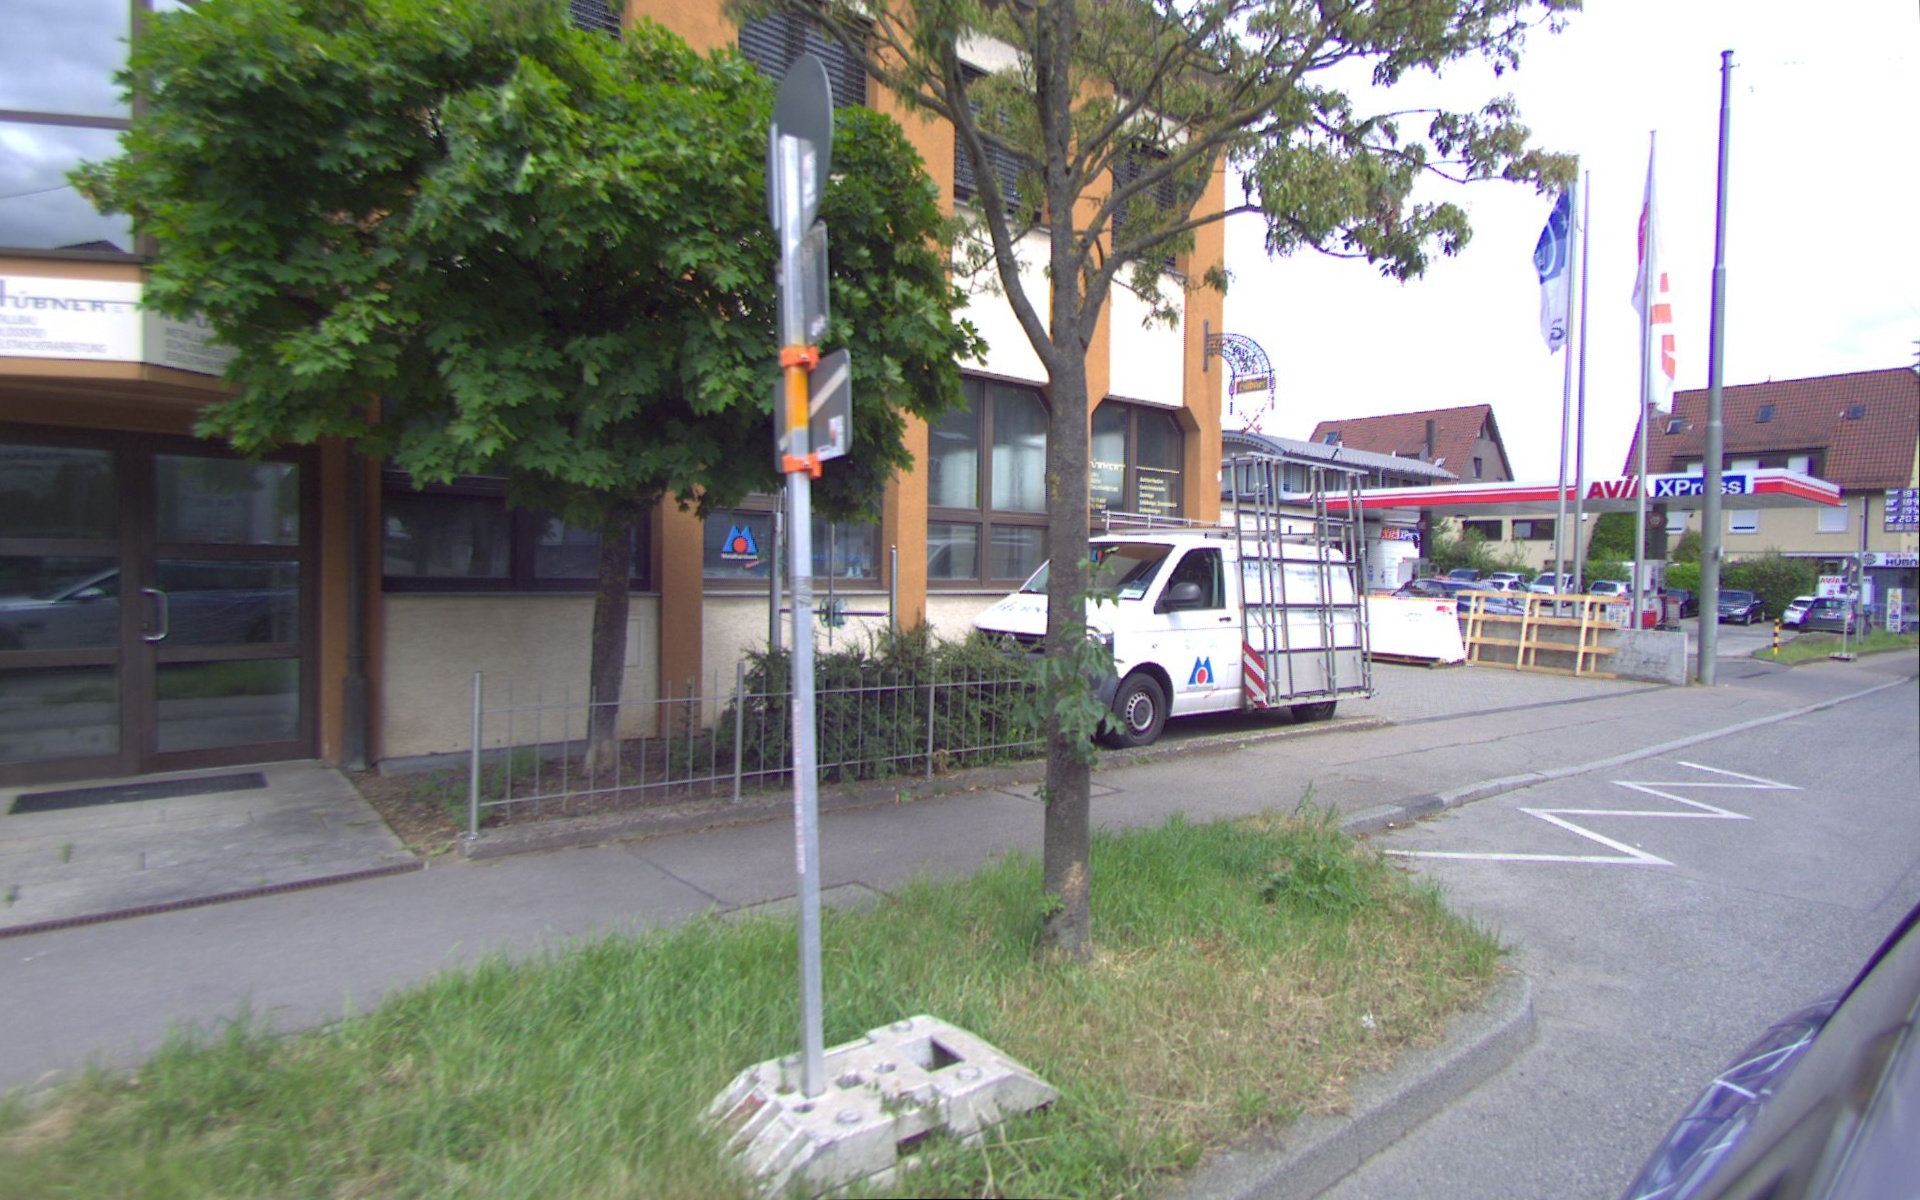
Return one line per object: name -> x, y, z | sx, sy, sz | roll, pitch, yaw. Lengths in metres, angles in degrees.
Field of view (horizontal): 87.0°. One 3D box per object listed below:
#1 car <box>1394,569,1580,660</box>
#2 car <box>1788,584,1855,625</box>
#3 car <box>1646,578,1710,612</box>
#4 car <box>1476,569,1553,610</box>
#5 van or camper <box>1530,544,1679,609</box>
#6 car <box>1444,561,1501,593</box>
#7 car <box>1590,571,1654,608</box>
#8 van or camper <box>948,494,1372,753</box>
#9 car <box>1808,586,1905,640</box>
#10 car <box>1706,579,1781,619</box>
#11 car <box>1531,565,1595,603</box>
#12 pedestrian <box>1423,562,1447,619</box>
car -> 11.805, 0.227, 23.049 | 1.603, 1.650, 4.326 | 3, 3, -4
car -> 37.403, 0.142, 43.909 | 4.133, 1.546, 1.637 | -1, 6, -43
car -> 33.636, -0.248, 47.377 | 3.684, 1.388, 1.639 | -1, 6, -42
car -> 24.725, -0.506, 45.095 | 3.680, 1.518, 1.636 | -4, 8, -38
van or camper -> 33.769, -1.291, 53.217 | 2.489, 2.884, 5.972 | 0, 6, -42
car -> 27.894, -1.252, 55.086 | 3.440, 1.587, 1.570 | -1, 6, -42
car -> 32.292, -0.547, 49.327 | 3.684, 1.604, 1.640 | -1, 6, -42
van or camper -> 2.181, 0.152, 10.233 | 4.468, 2.057, 1.870 | -1, 1, -41
car -> 31.829, 0.429, 35.892 | 4.082, 1.613, 1.622 | 0, 7, -37
car -> 35.025, -0.070, 45.209 | 4.576, 1.560, 1.716 | -1, 6, -42
car -> 30.483, -0.829, 51.144 | 3.980, 1.702, 1.570 | -1, 6, -42
pedestrian -> 16.506, -0.318, 35.184 | 0.530, 1.960, 0.587 | 0, 0, -3
